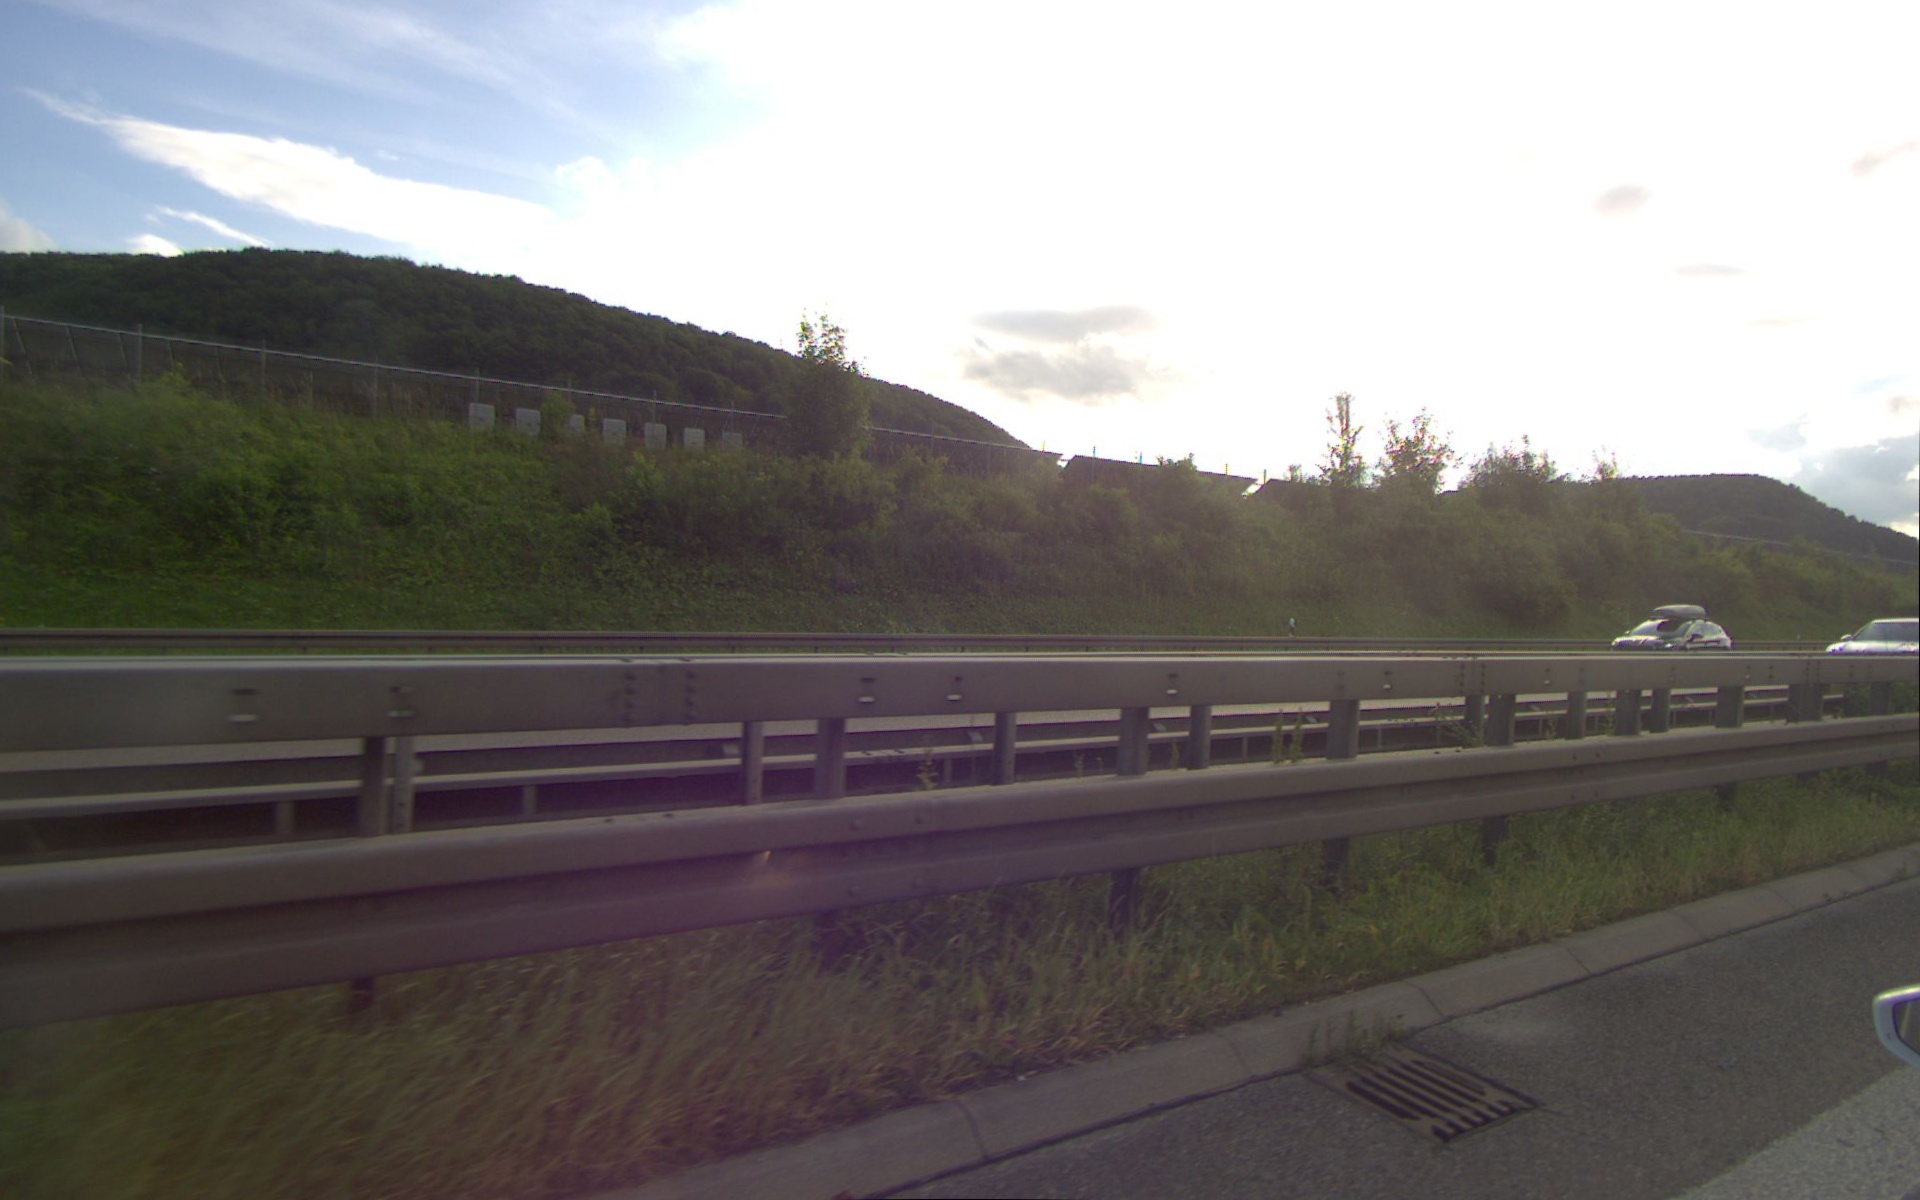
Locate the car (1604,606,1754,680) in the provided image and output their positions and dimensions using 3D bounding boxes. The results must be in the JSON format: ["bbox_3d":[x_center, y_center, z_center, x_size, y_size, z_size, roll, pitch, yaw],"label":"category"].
[{"bbox_3d":[22.015,1.289,30.704,4.963,2.067,1.952,2,0,-32],"label":"car"}]

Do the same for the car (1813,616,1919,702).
[{"bbox_3d":[20.189,1.219,21.258,4.963,1.612,1.823,2,0,-32],"label":"car"}]

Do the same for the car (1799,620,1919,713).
[{"bbox_3d":[18.811,1.279,20.125,4.292,1.678,1.636,2,0,-29],"label":"car"}]
